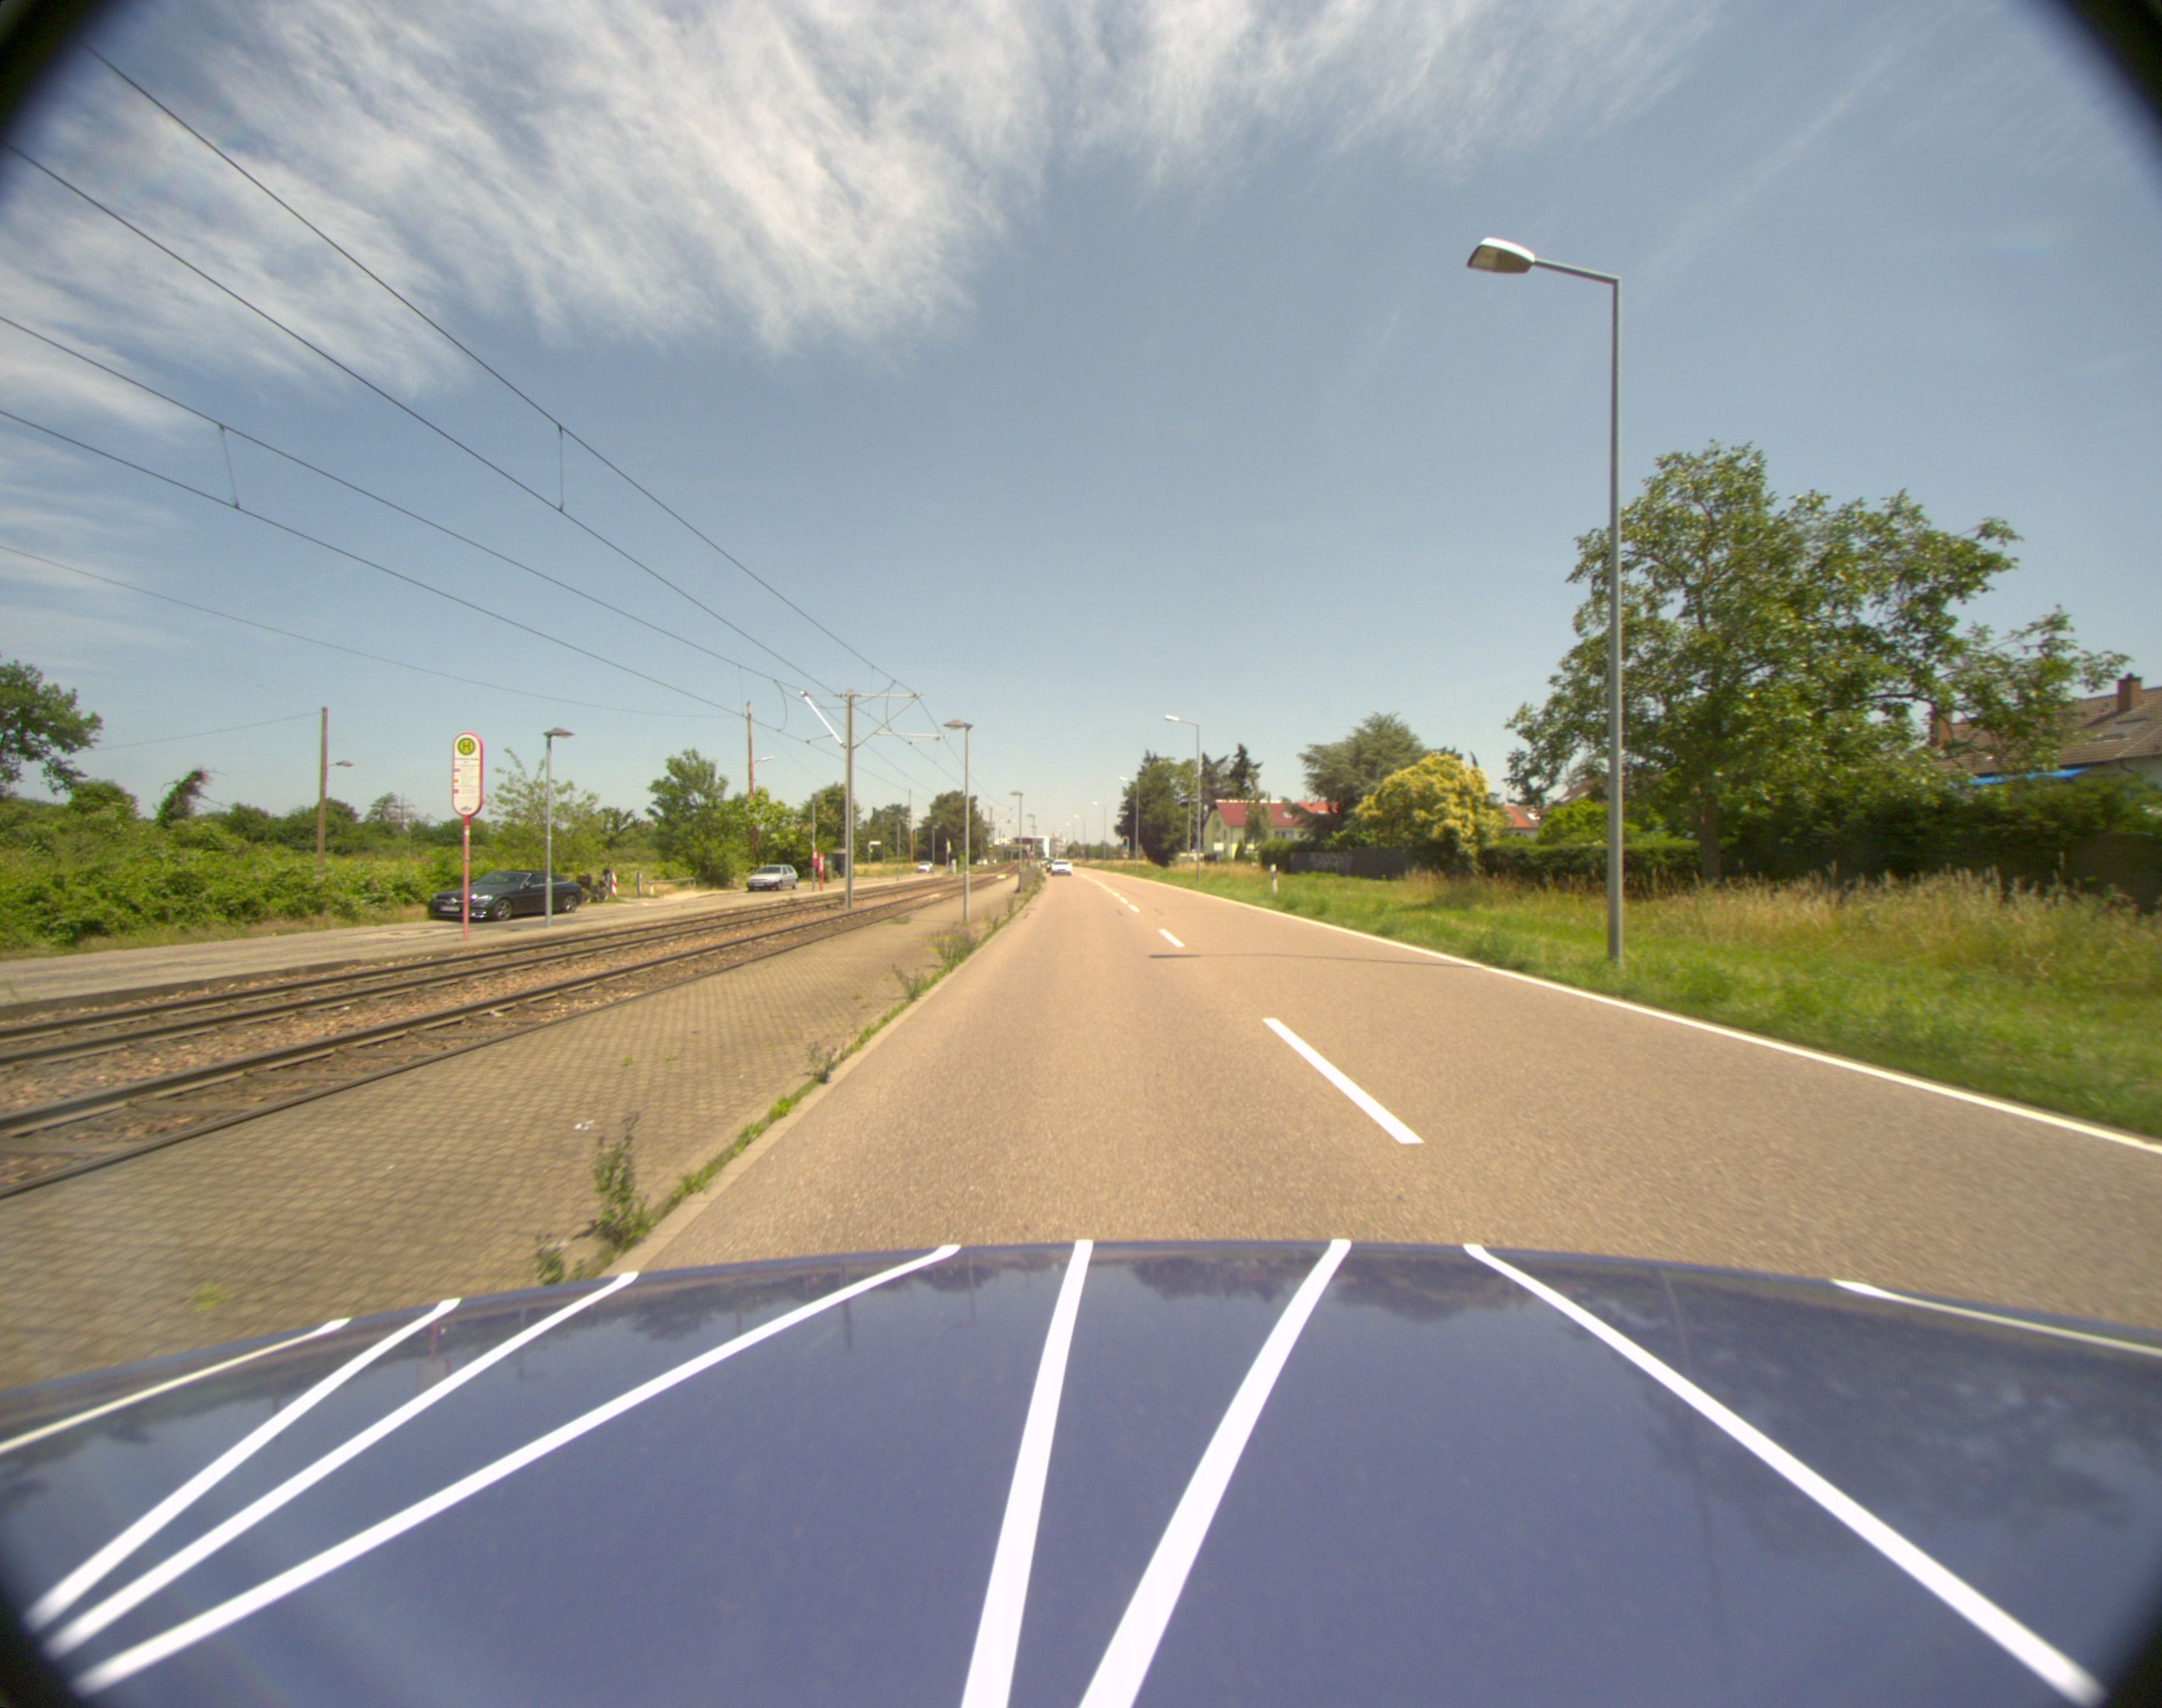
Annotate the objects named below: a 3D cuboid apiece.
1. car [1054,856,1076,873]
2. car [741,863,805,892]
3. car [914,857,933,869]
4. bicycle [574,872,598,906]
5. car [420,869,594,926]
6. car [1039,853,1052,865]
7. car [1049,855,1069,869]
[{"bbox_3d":[-1.456,0.964,69.958,1.856,1.447,3.706,-1,0,1],"label":"car"},{"bbox_3d":[-16.865,1.233,41.842,1.944,1.414,3.999,-1,0,-1],"label":"car"},{"bbox_3d":[-20.151,1.127,97.479,1.717,1.480,4.000,-1,0,-3],"label":"car"},{"bbox_3d":[-19.507,1.350,29.923,0.705,1.261,1.676,0,0,-36],"label":"bicycle"},{"bbox_3d":[-17.215,1.240,23.171,1.624,1.414,4.872,-1,0,-1],"label":"car"},{"bbox_3d":[-6.048,0.816,128.842,1.938,2.002,3.999,-1,0,0],"label":"car"},{"bbox_3d":[-2.489,0.901,86.619,1.998,1.576,4.000,-1,0,1],"label":"car"}]
